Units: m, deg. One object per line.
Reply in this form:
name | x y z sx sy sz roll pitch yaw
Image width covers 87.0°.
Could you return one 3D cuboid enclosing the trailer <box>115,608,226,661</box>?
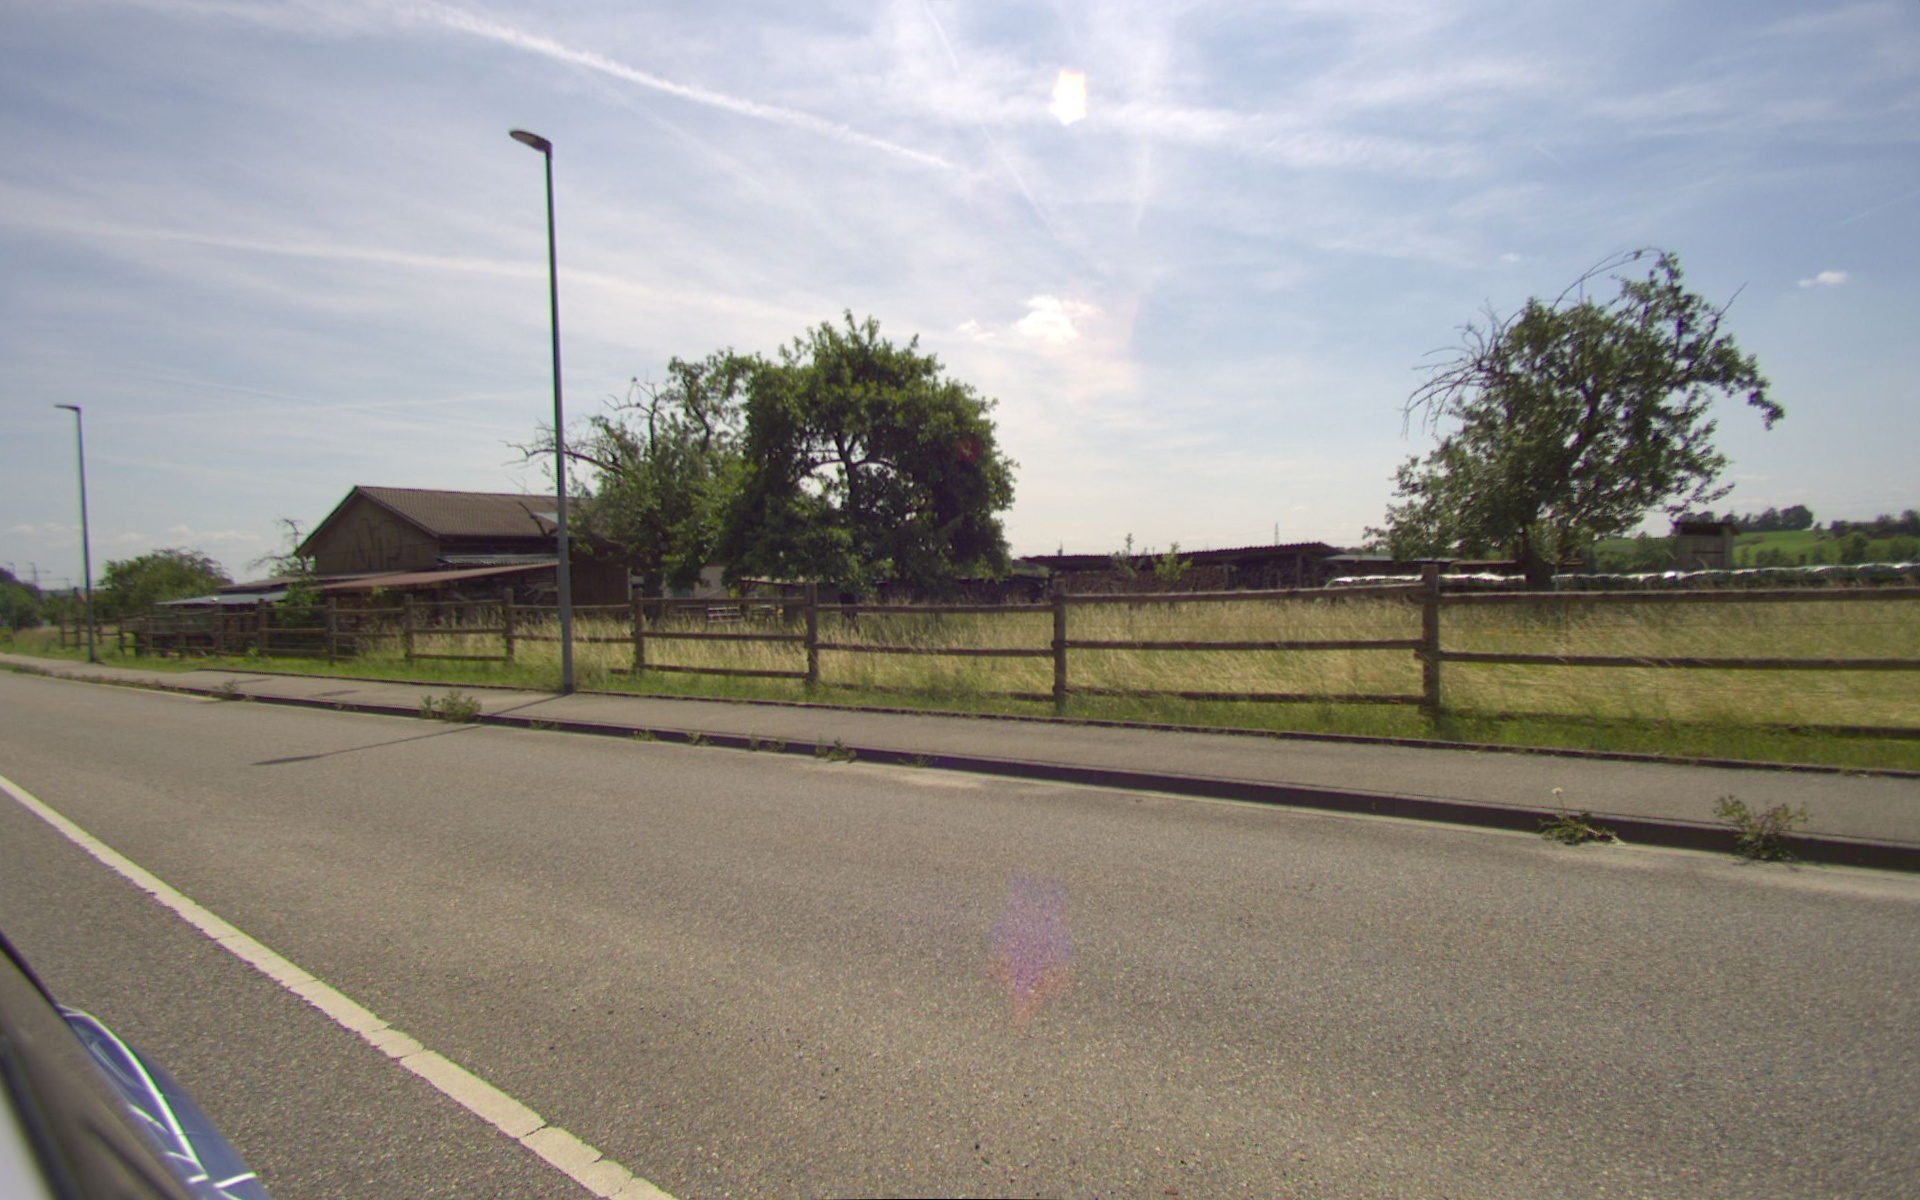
trailer | -27.942 1.198 35.773 5.025 1.716 2.133 -2 -1 40
